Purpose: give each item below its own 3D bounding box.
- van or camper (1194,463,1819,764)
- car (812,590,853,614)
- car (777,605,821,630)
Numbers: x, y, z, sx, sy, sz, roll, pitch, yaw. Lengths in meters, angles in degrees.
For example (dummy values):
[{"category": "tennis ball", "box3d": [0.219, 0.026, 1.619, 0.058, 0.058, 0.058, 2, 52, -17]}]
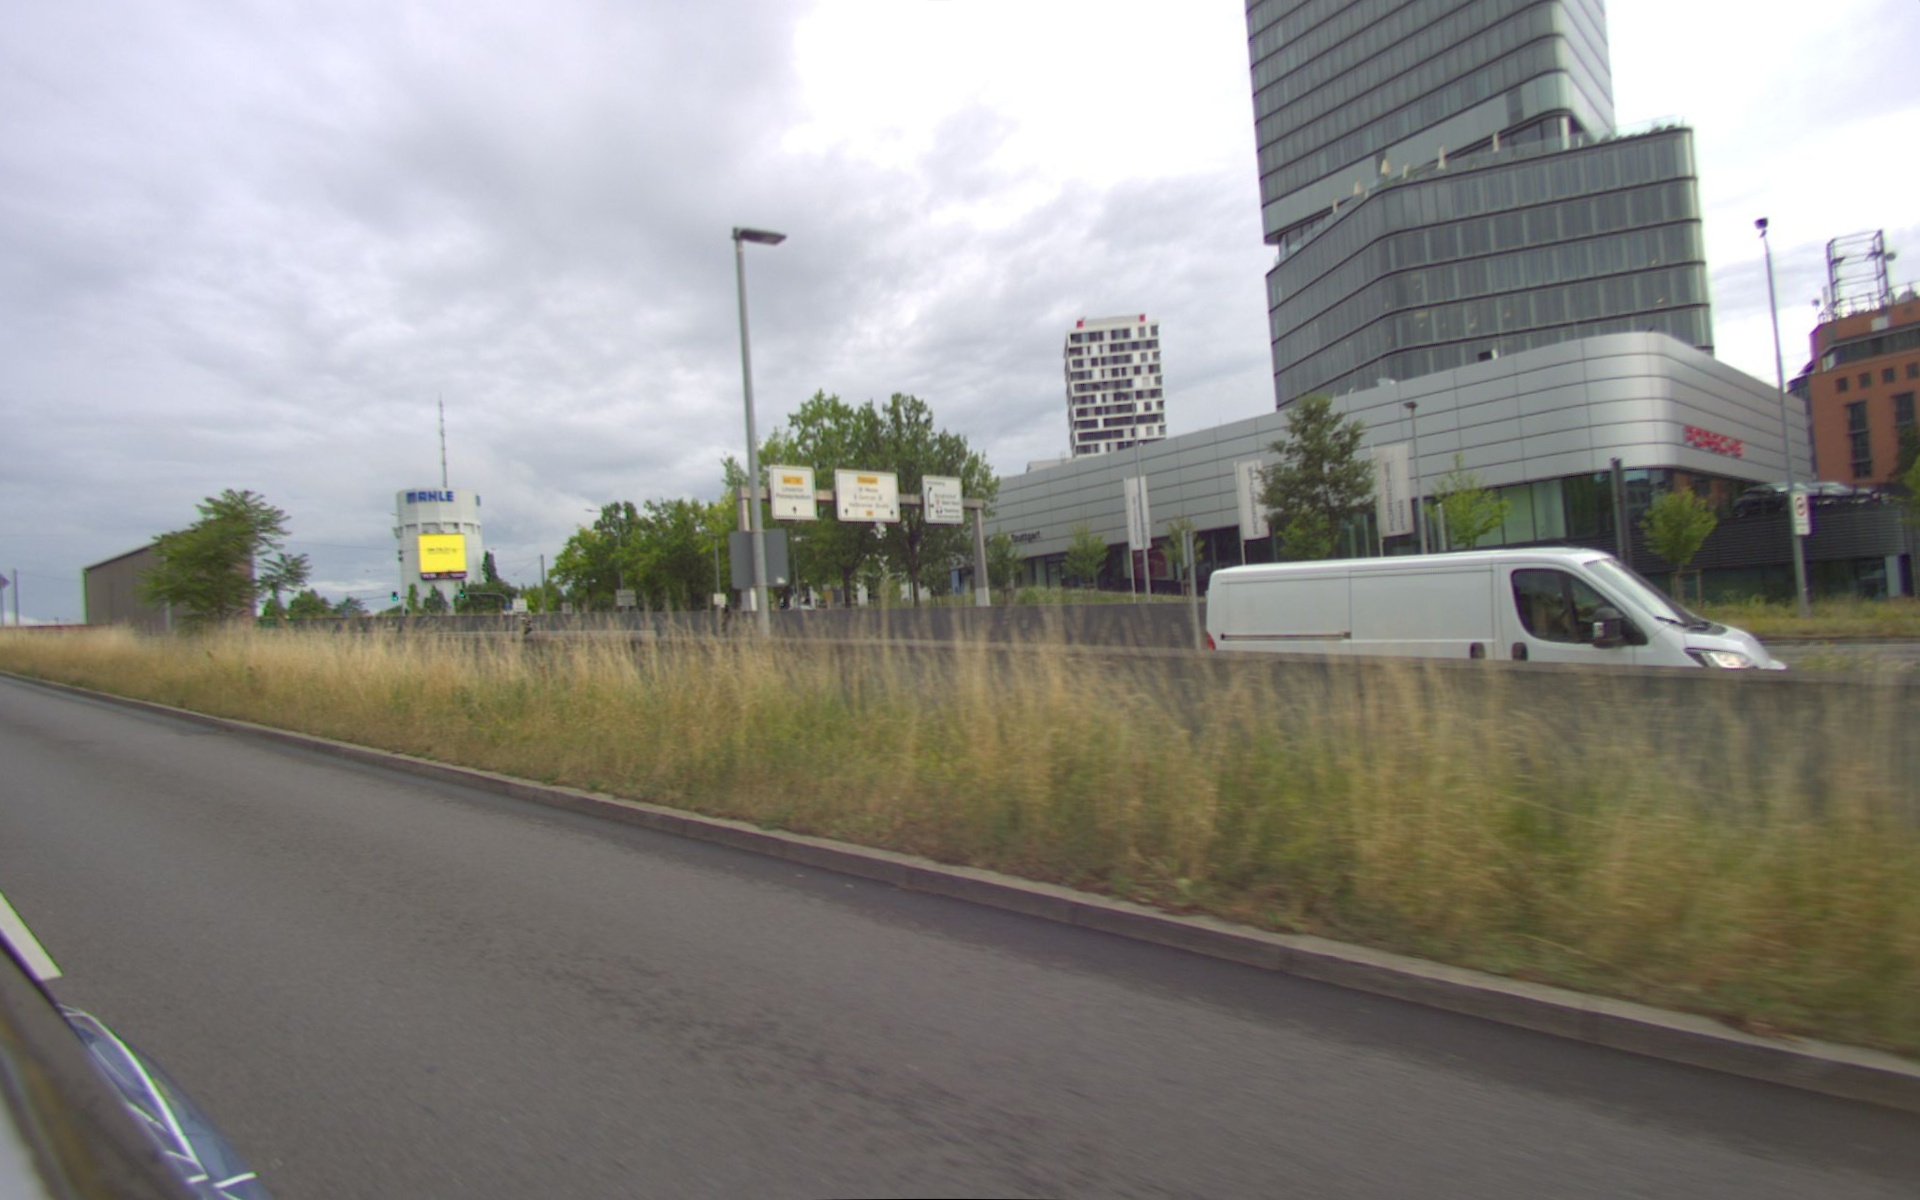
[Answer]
[{"category": "van or camper", "box3d": [5.579, 0.168, 10.938, 5.530, 2.457, 2.180, -2, -1, 42]}, {"category": "car", "box3d": [-13.678, 0.199, 108.609, 3.993, 2.028, 1.976, -7, -1, 37]}, {"category": "car", "box3d": [-16.279, 1.752, 102.471, 3.992, 2.028, 1.976, -7, -1, 36]}]
